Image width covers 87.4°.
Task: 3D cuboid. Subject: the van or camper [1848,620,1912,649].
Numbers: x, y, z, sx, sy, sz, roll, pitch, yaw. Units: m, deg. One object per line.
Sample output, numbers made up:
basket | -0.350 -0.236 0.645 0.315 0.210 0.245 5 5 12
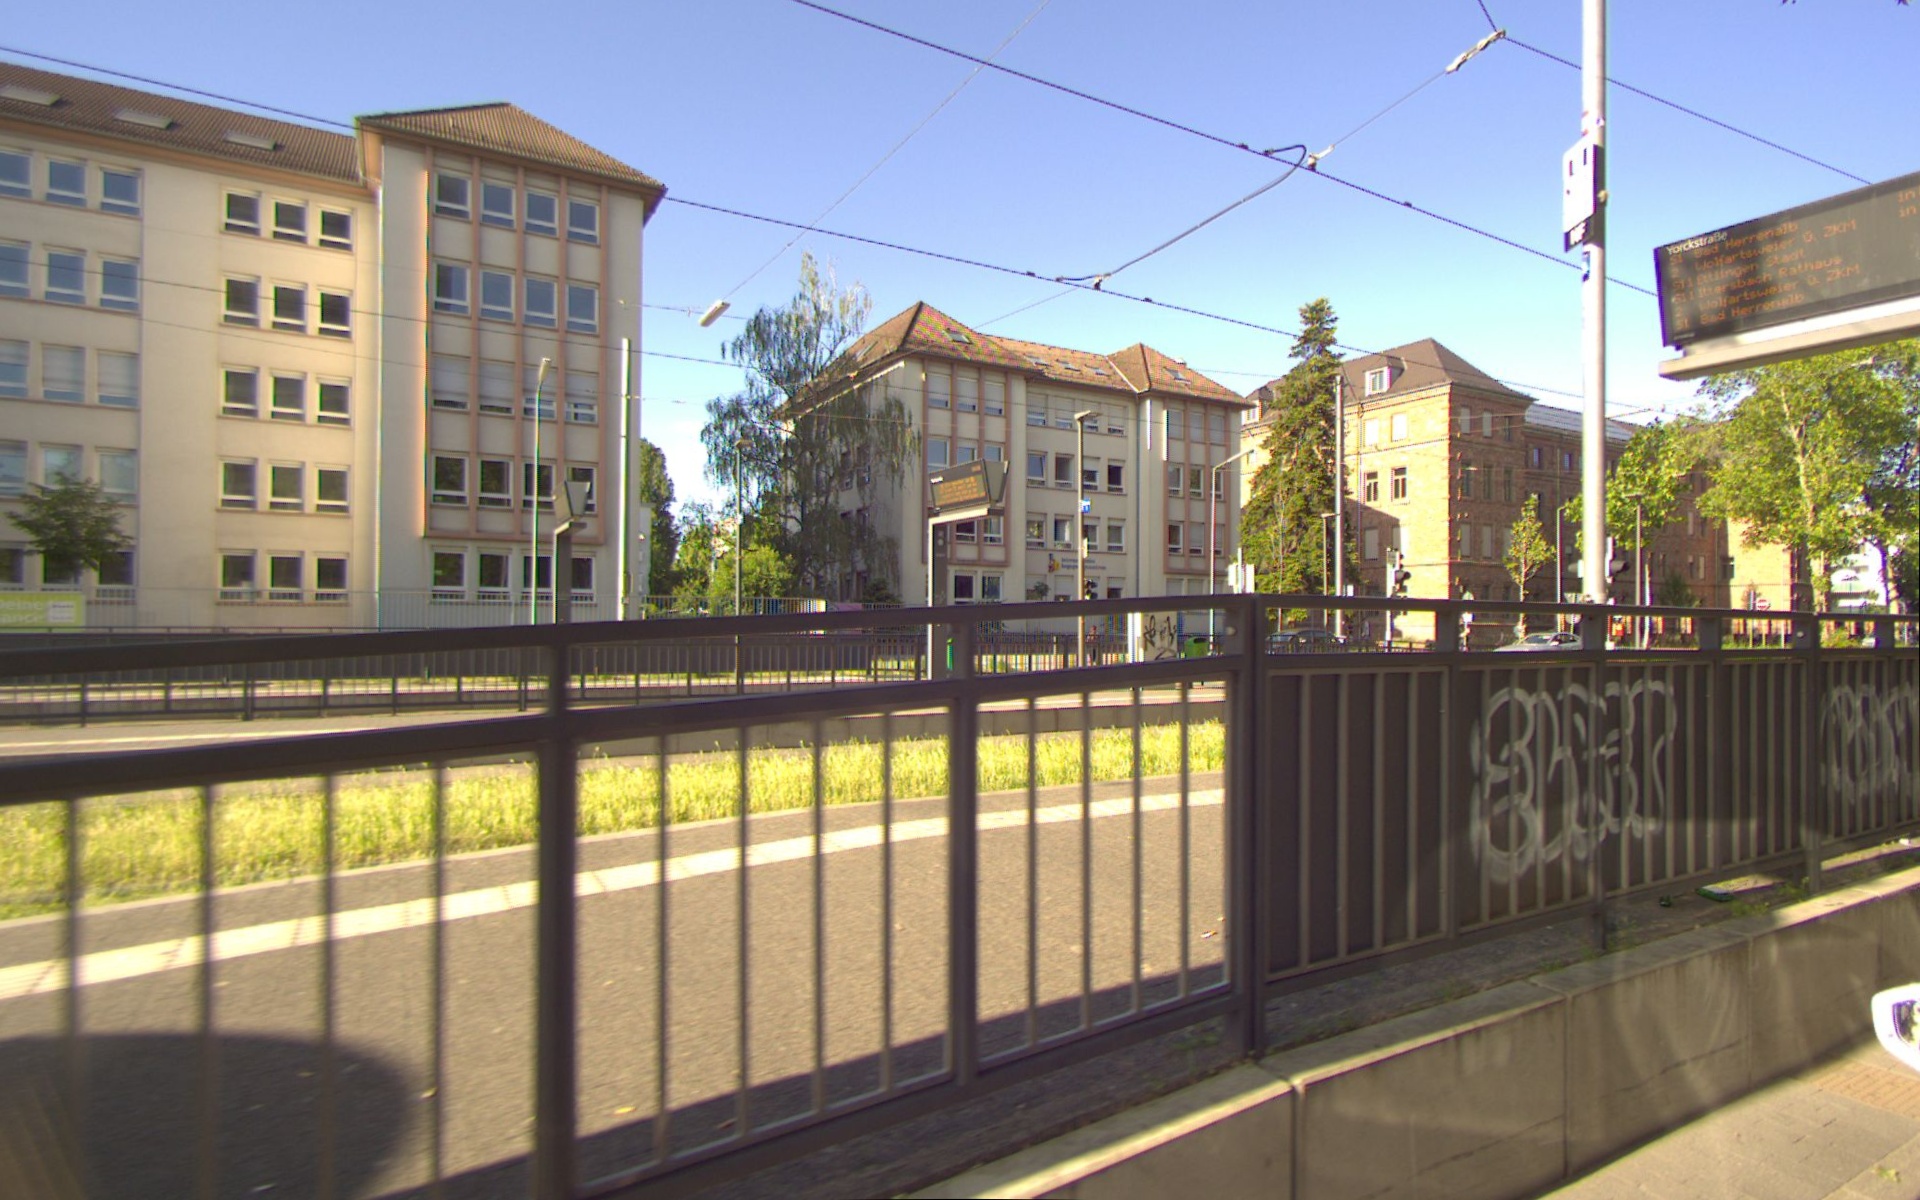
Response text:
van or camper | 59.507 2.255 64.945 4.383 1.811 1.983 1 -2 -32

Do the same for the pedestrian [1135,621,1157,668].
pedestrian | 7.466 1.767 40.349 0.566 1.861 0.689 1 -1 -30

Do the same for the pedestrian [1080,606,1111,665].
pedestrian | 4.732 1.231 35.056 0.850 2.040 0.659 1 -1 -31

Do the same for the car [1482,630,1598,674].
car | 23.017 2.045 39.831 4.413 1.644 1.761 1 -1 -24

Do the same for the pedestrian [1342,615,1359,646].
pedestrian | 22.267 1.745 57.340 0.672 1.718 0.820 0 -1 41

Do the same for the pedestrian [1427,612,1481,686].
pedestrian | 12.031 1.165 24.471 0.720 1.759 0.949 0 -1 -27

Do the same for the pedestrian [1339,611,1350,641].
pedestrian | 21.761 1.485 56.905 0.443 1.718 0.374 1 -1 -23

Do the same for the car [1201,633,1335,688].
car | 10.325 1.981 33.697 4.095 1.729 1.987 1 -1 -27

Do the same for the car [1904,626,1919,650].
car | 68.495 2.652 70.471 4.768 1.671 1.985 0 -1 -30

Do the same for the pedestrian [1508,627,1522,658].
pedestrian | 32.154 2.456 58.234 0.670 1.718 0.882 0 -1 32

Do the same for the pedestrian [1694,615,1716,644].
pedestrian | 49.673 1.987 66.950 0.930 1.924 0.897 1 -1 -29
